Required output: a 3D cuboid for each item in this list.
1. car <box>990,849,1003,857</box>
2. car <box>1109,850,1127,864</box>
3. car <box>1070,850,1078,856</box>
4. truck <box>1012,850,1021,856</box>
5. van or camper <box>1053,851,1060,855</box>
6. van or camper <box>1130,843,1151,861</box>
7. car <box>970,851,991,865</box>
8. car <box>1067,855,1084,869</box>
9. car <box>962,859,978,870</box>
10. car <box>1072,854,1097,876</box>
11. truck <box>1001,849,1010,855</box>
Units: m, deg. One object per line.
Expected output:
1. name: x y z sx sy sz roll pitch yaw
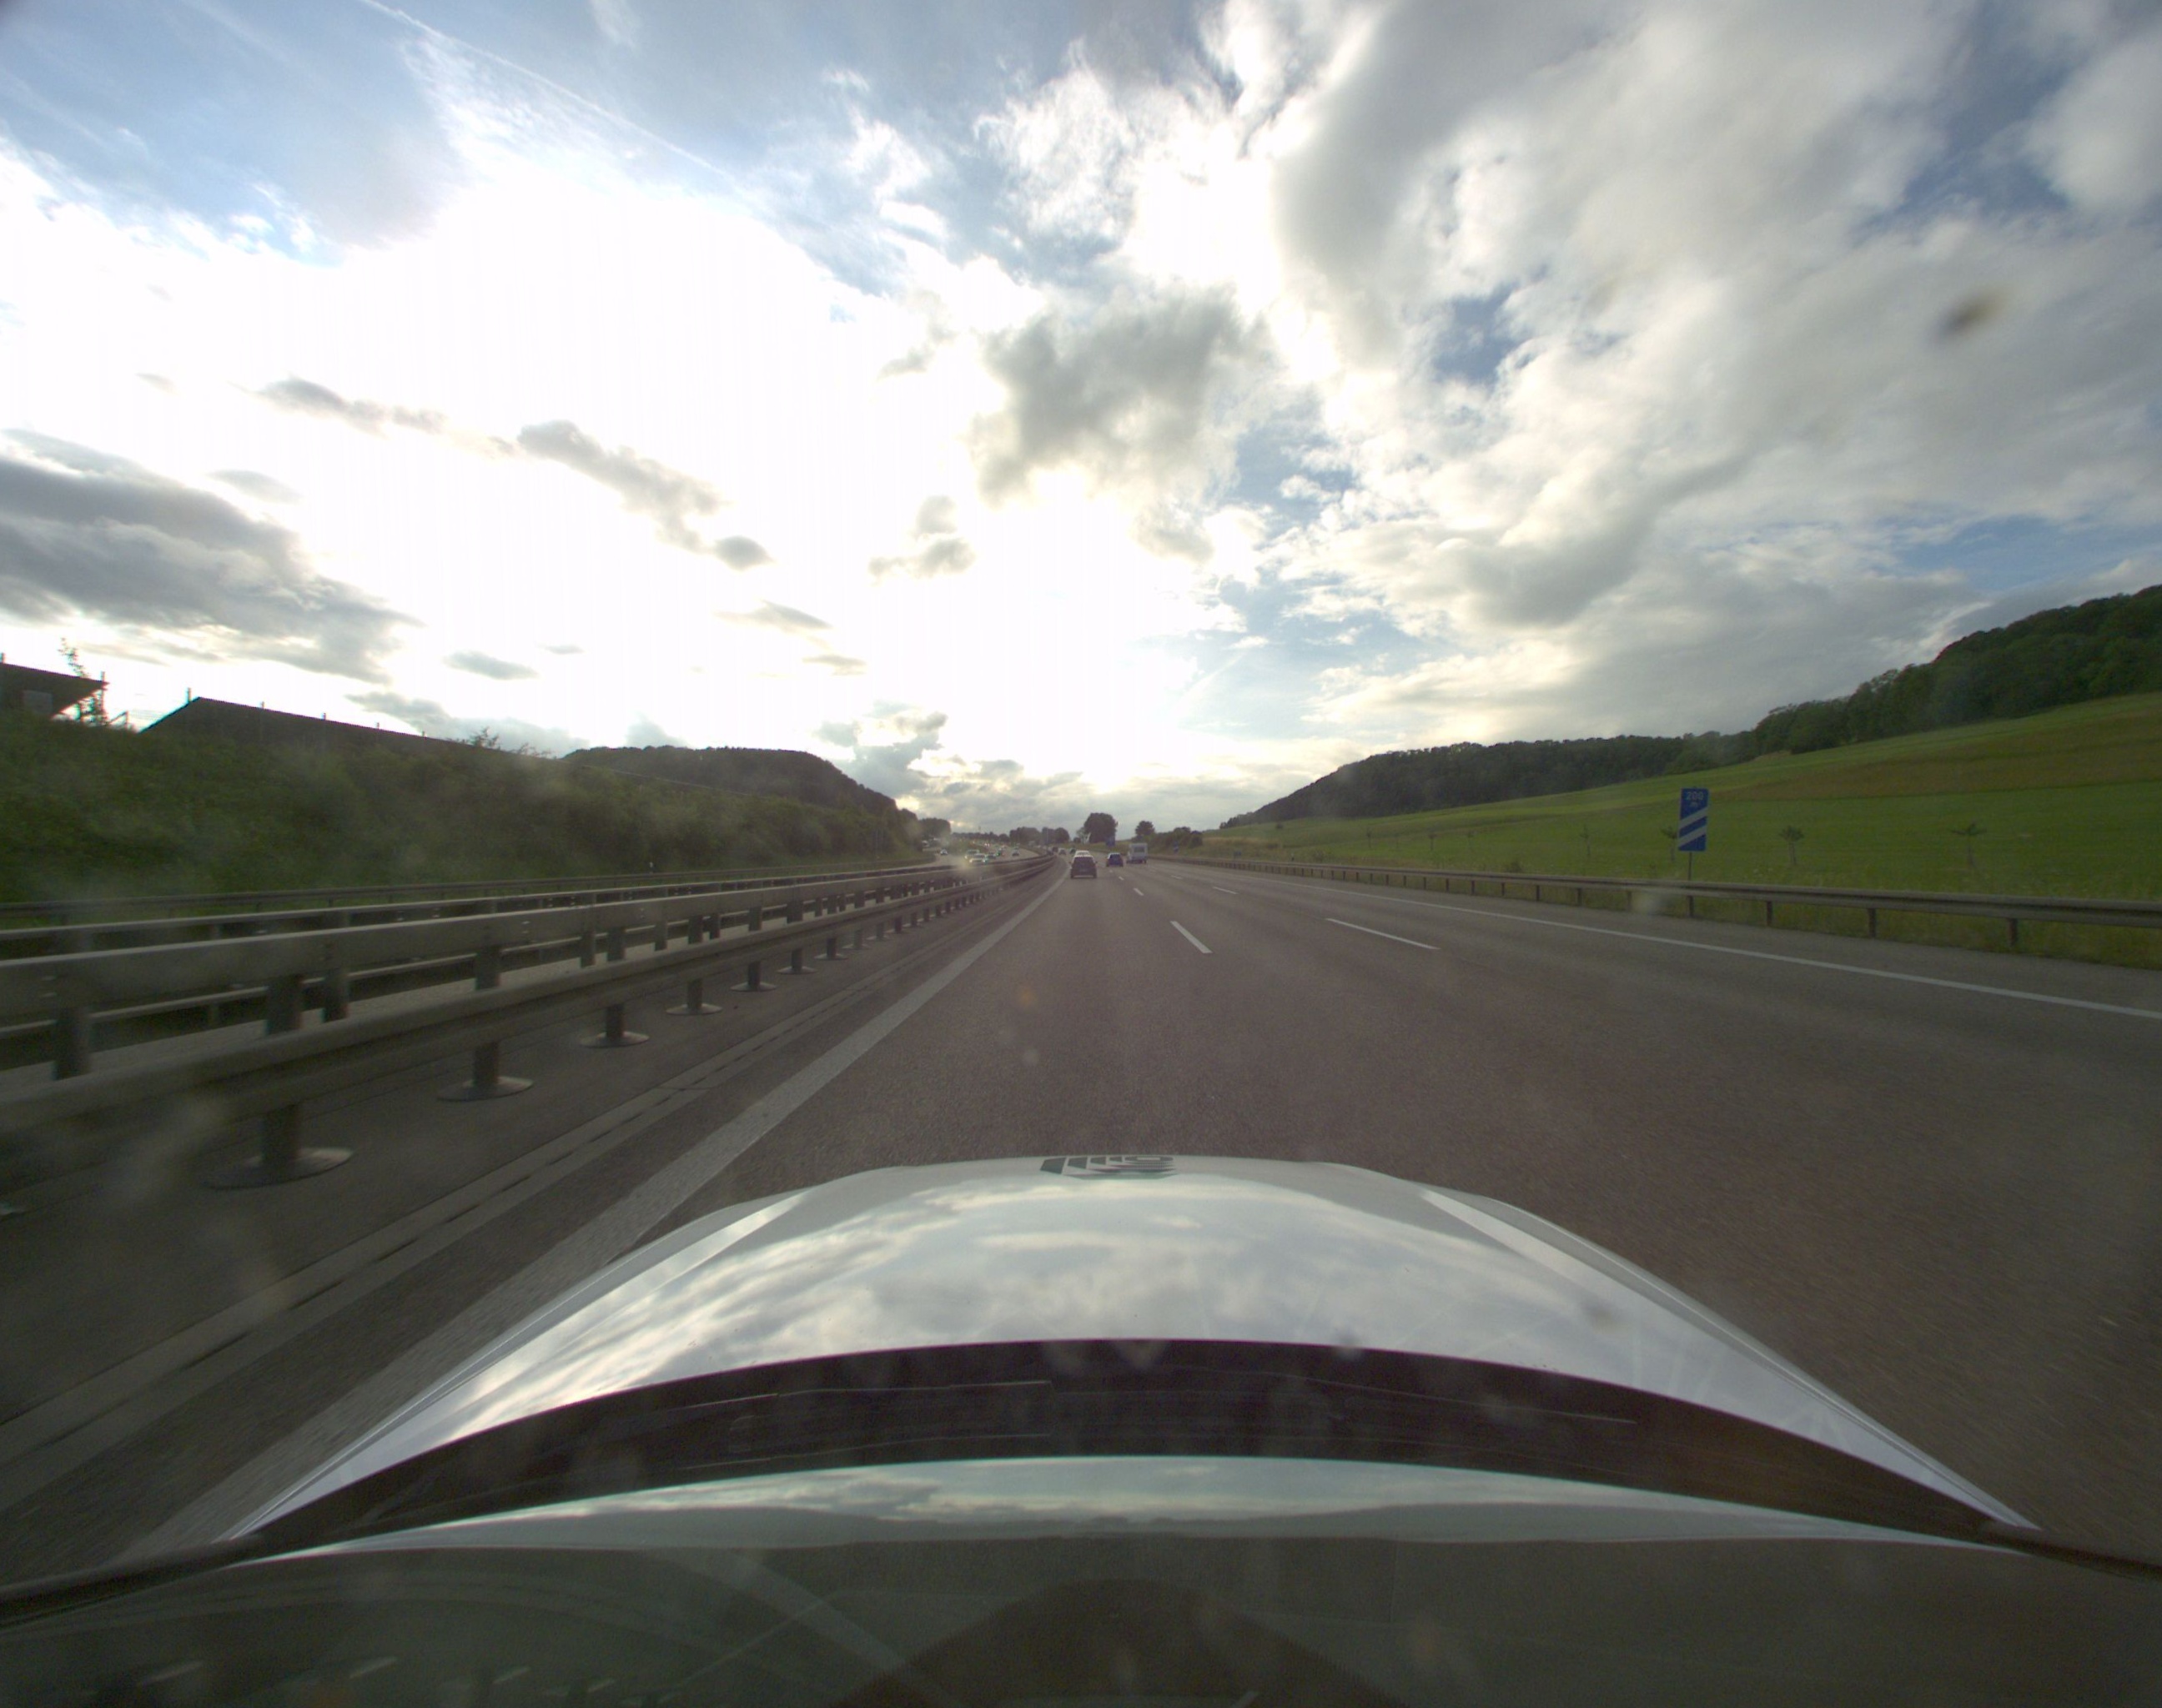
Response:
1. car: -16.255 -0.181 157.088 1.988 1.353 4.353 -2 1 -2
2. car: 3.974 0.311 88.012 1.762 1.433 3.998 0 0 -1
3. car: -1.791 -0.338 223.719 1.949 1.574 4.003 -1 0 3
4. truck: -15.160 -0.238 191.466 1.991 1.222 3.992 -3 1 -6
5. van or camper: -7.517 -0.283 251.886 1.957 1.433 4.004 -1 0 4
6. van or camper: 7.552 -0.239 103.952 2.537 2.239 5.333 -1 0 3
7. car: -11.176 0.447 90.878 1.988 1.430 4.584 -1 0 -2
8. car: -0.560 0.768 80.872 1.560 1.380 3.999 -1 0 -1
9. car: -16.245 1.496 119.657 1.770 1.596 3.999 -1 0 0
10. car: 0.232 0.687 52.151 1.533 1.348 3.677 -1 0 0
11. truck: -18.000 -0.586 194.262 1.988 1.353 3.944 -2 1 -2
